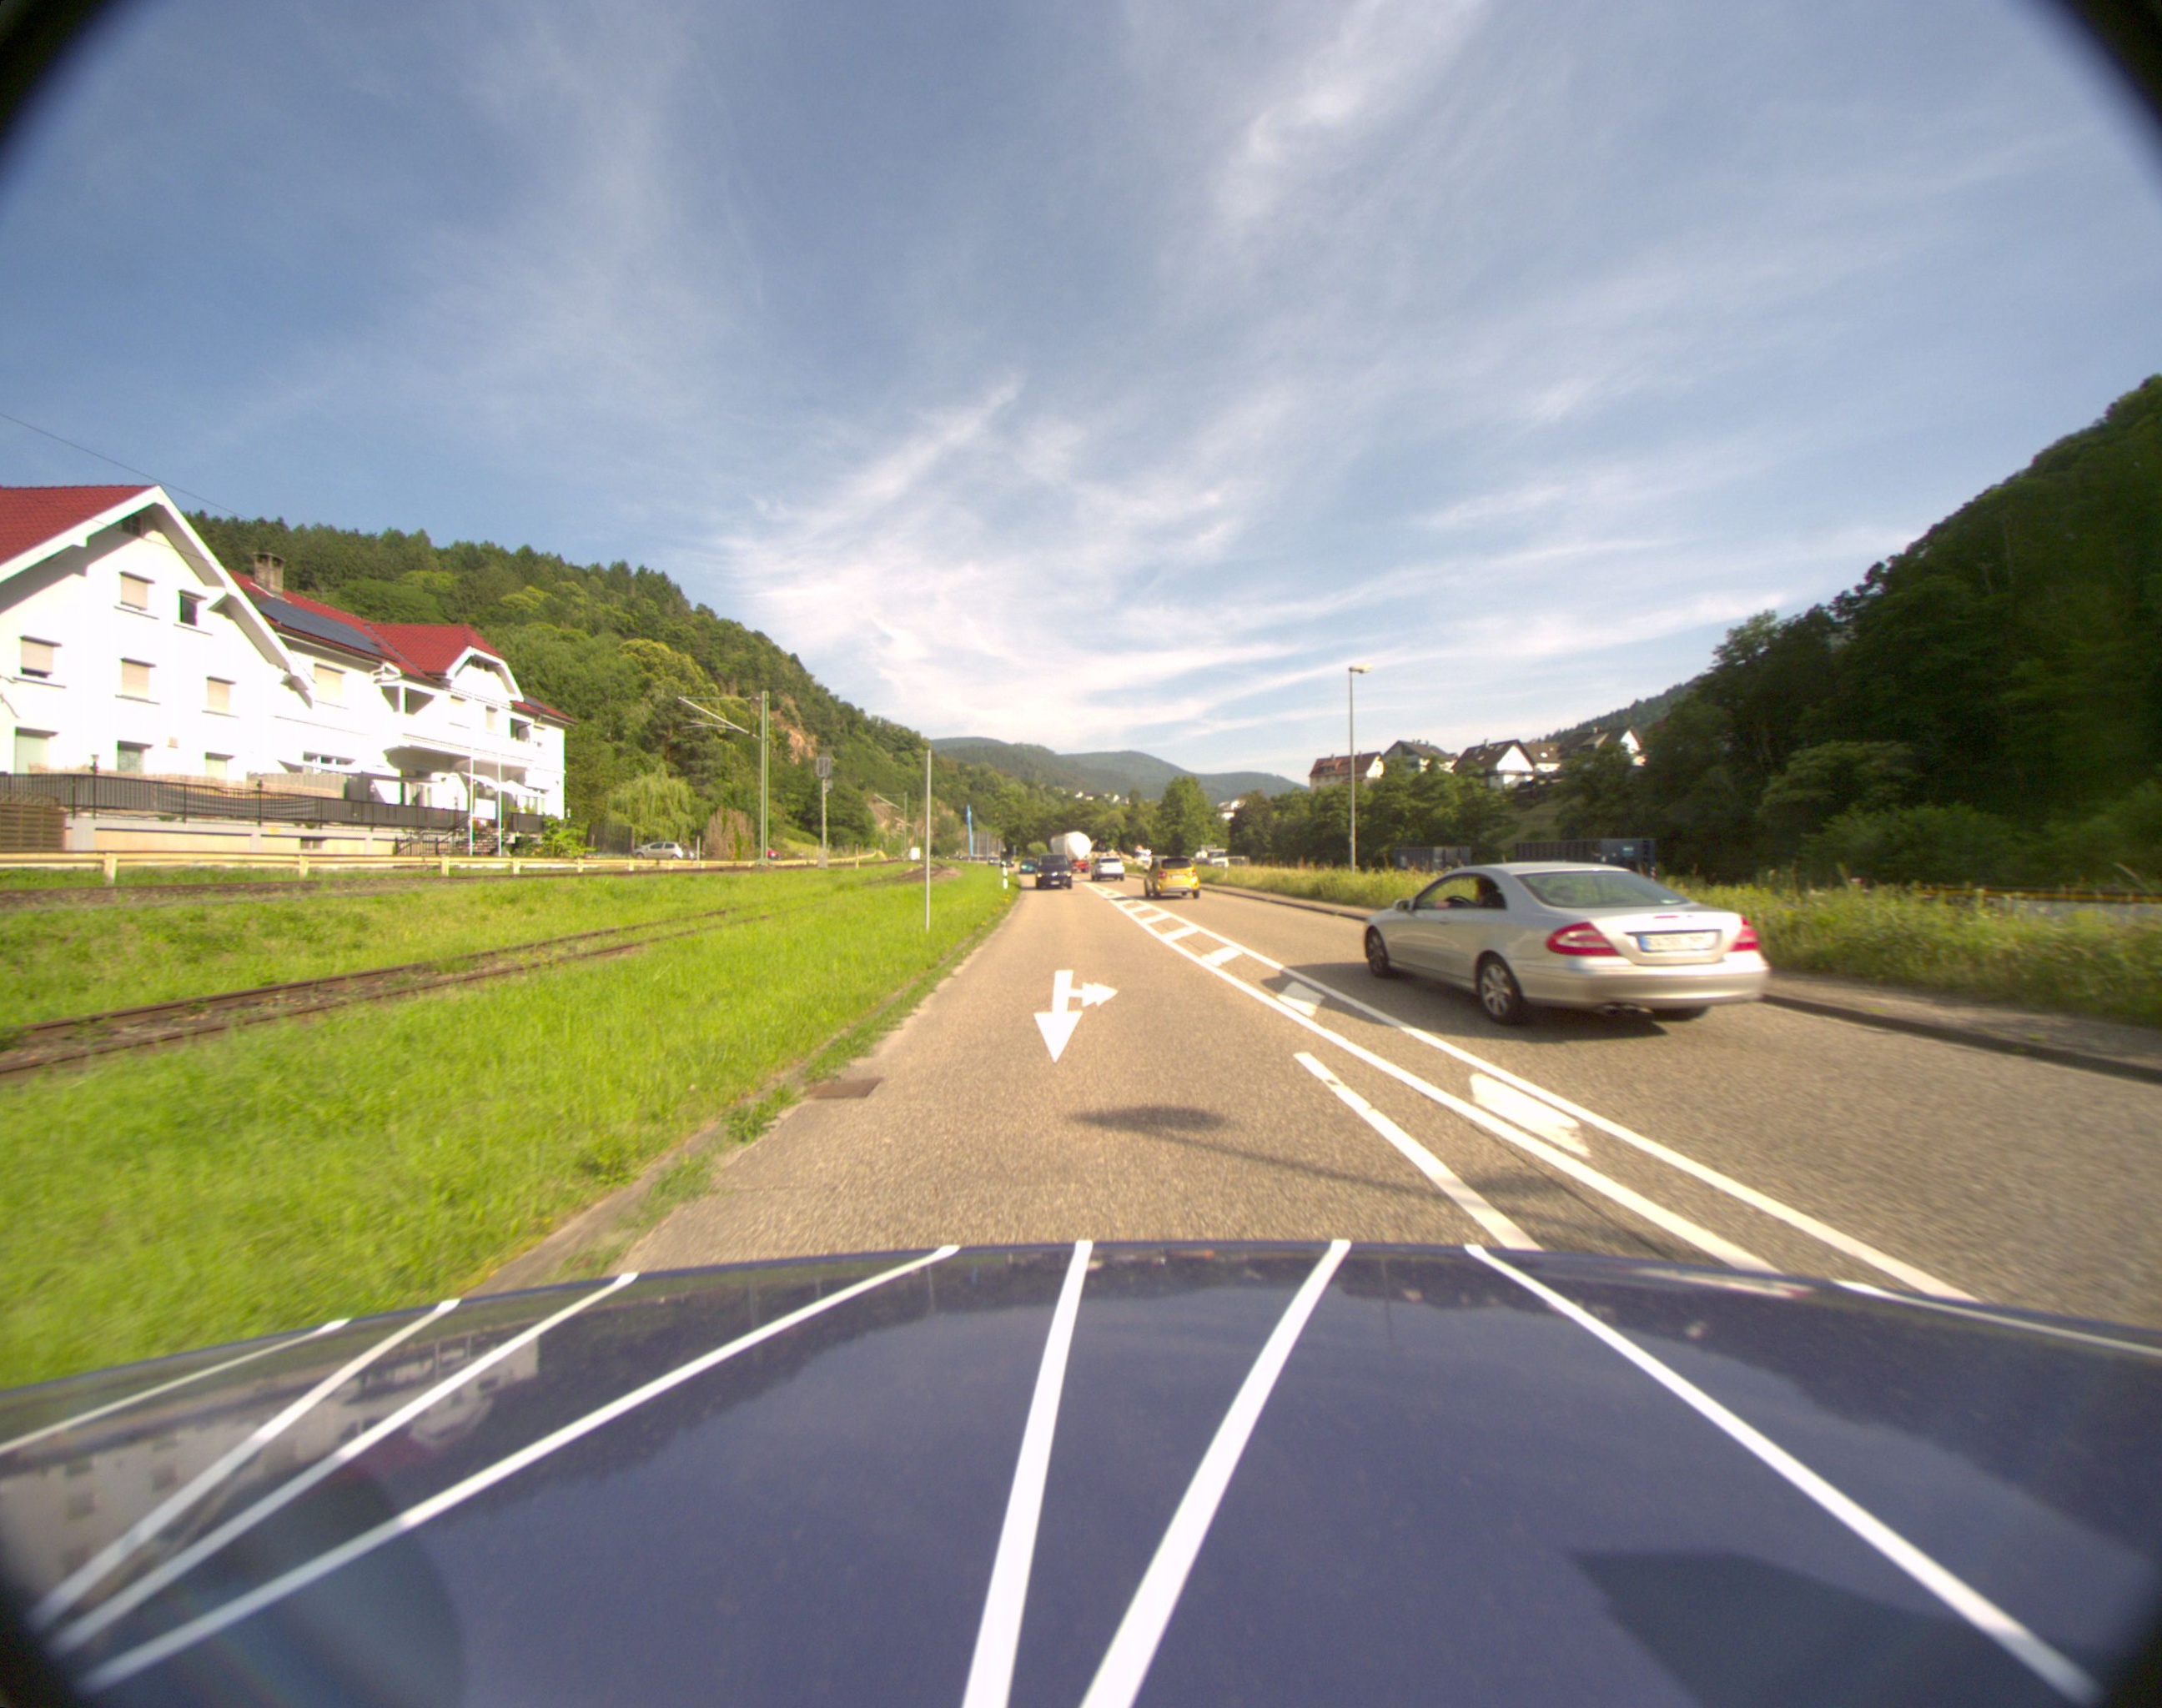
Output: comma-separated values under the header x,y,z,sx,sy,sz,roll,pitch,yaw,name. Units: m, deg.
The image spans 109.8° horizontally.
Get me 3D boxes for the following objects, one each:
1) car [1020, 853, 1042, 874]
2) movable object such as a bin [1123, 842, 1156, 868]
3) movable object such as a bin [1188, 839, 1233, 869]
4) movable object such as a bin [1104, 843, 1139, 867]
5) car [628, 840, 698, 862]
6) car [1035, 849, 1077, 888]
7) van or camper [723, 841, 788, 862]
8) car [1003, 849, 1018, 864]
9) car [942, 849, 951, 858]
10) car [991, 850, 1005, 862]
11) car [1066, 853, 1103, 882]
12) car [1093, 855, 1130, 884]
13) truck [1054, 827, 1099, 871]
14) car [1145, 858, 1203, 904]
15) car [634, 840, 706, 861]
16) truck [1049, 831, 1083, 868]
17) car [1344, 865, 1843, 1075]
x,y,z,sx,sy,sz,roll,pitch,yaw,name
-5.055,0.911,75.720,2.000,2.002,3.998,2,0,-6,car
9.295,0.098,121.914,2.732,3.924,7.218,1,0,-16,movable object such as a bin
17.711,-0.030,104.822,2.909,3.924,7.797,2,0,-16,movable object such as a bin
6.880,0.071,130.174,2.710,3.924,9.974,1,0,-17,movable object such as a bin
-30.216,-0.199,55.030,4.000,1.521,1.999,1,-1,-8,car
-1.422,0.820,41.603,1.999,2.001,3.999,0,-2,-6,car
-32.080,-0.262,75.010,5.432,1.918,2.120,2,0,-3,van or camper
-10.268,0.345,110.136,2.000,2.002,3.997,2,0,-7,car
-33.369,-0.094,188.592,2.001,2.002,3.996,2,0,-12,car
-14.143,0.322,129.057,2.001,2.002,3.996,2,0,-12,car
0.204,0.956,55.135,2.000,2.002,3.996,2,0,-9,car
1.965,0.999,50.871,1.999,1.748,4.468,-2,0,-3,car
-0.668,-0.443,74.879,2.758,3.813,14.552,-2,0,-7,truck
3.494,0.991,29.207,1.728,1.615,3.796,-2,0,0,car
-31.055,-0.244,57.569,4.326,1.521,1.999,1,-1,-8,car
-1.700,-0.452,82.955,2.758,3.813,8.192,-2,0,-7,truck
4.347,0.834,7.529,1.783,1.340,4.510,-3,0,-1,car
